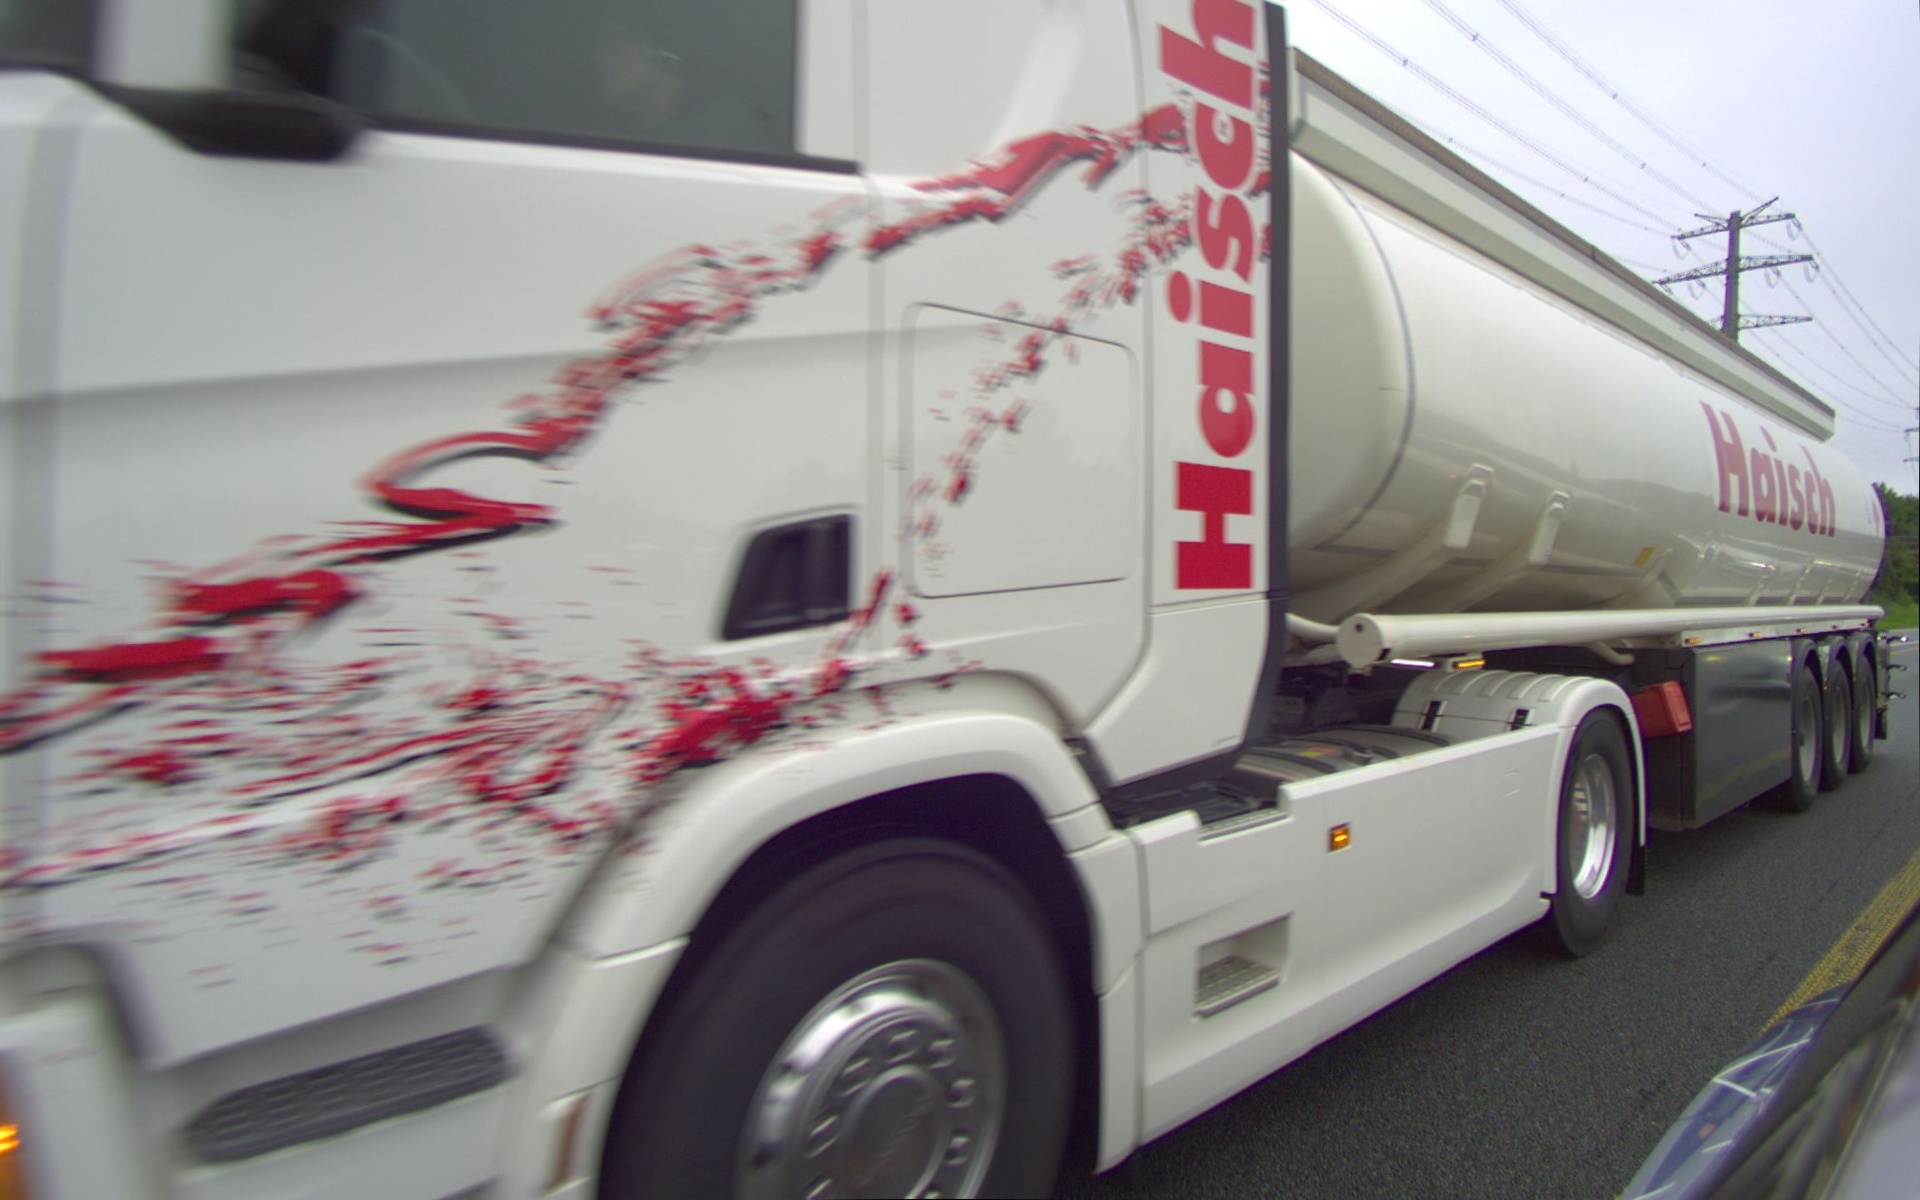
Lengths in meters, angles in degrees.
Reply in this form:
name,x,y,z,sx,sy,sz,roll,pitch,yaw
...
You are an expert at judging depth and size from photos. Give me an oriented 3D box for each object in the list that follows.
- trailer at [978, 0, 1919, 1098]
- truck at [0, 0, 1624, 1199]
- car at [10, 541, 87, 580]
name,x,y,z,sx,sy,sz,roll,pitch,yaw
trailer,4.854,-0.566,7.415,10.360,3.942,2.642,-1,0,-41
truck,-0.234,-0.473,2.948,3.960,3.940,2.649,-1,0,-41
car,-37.170,-1.616,41.216,4.580,1.466,1.969,3,2,43
